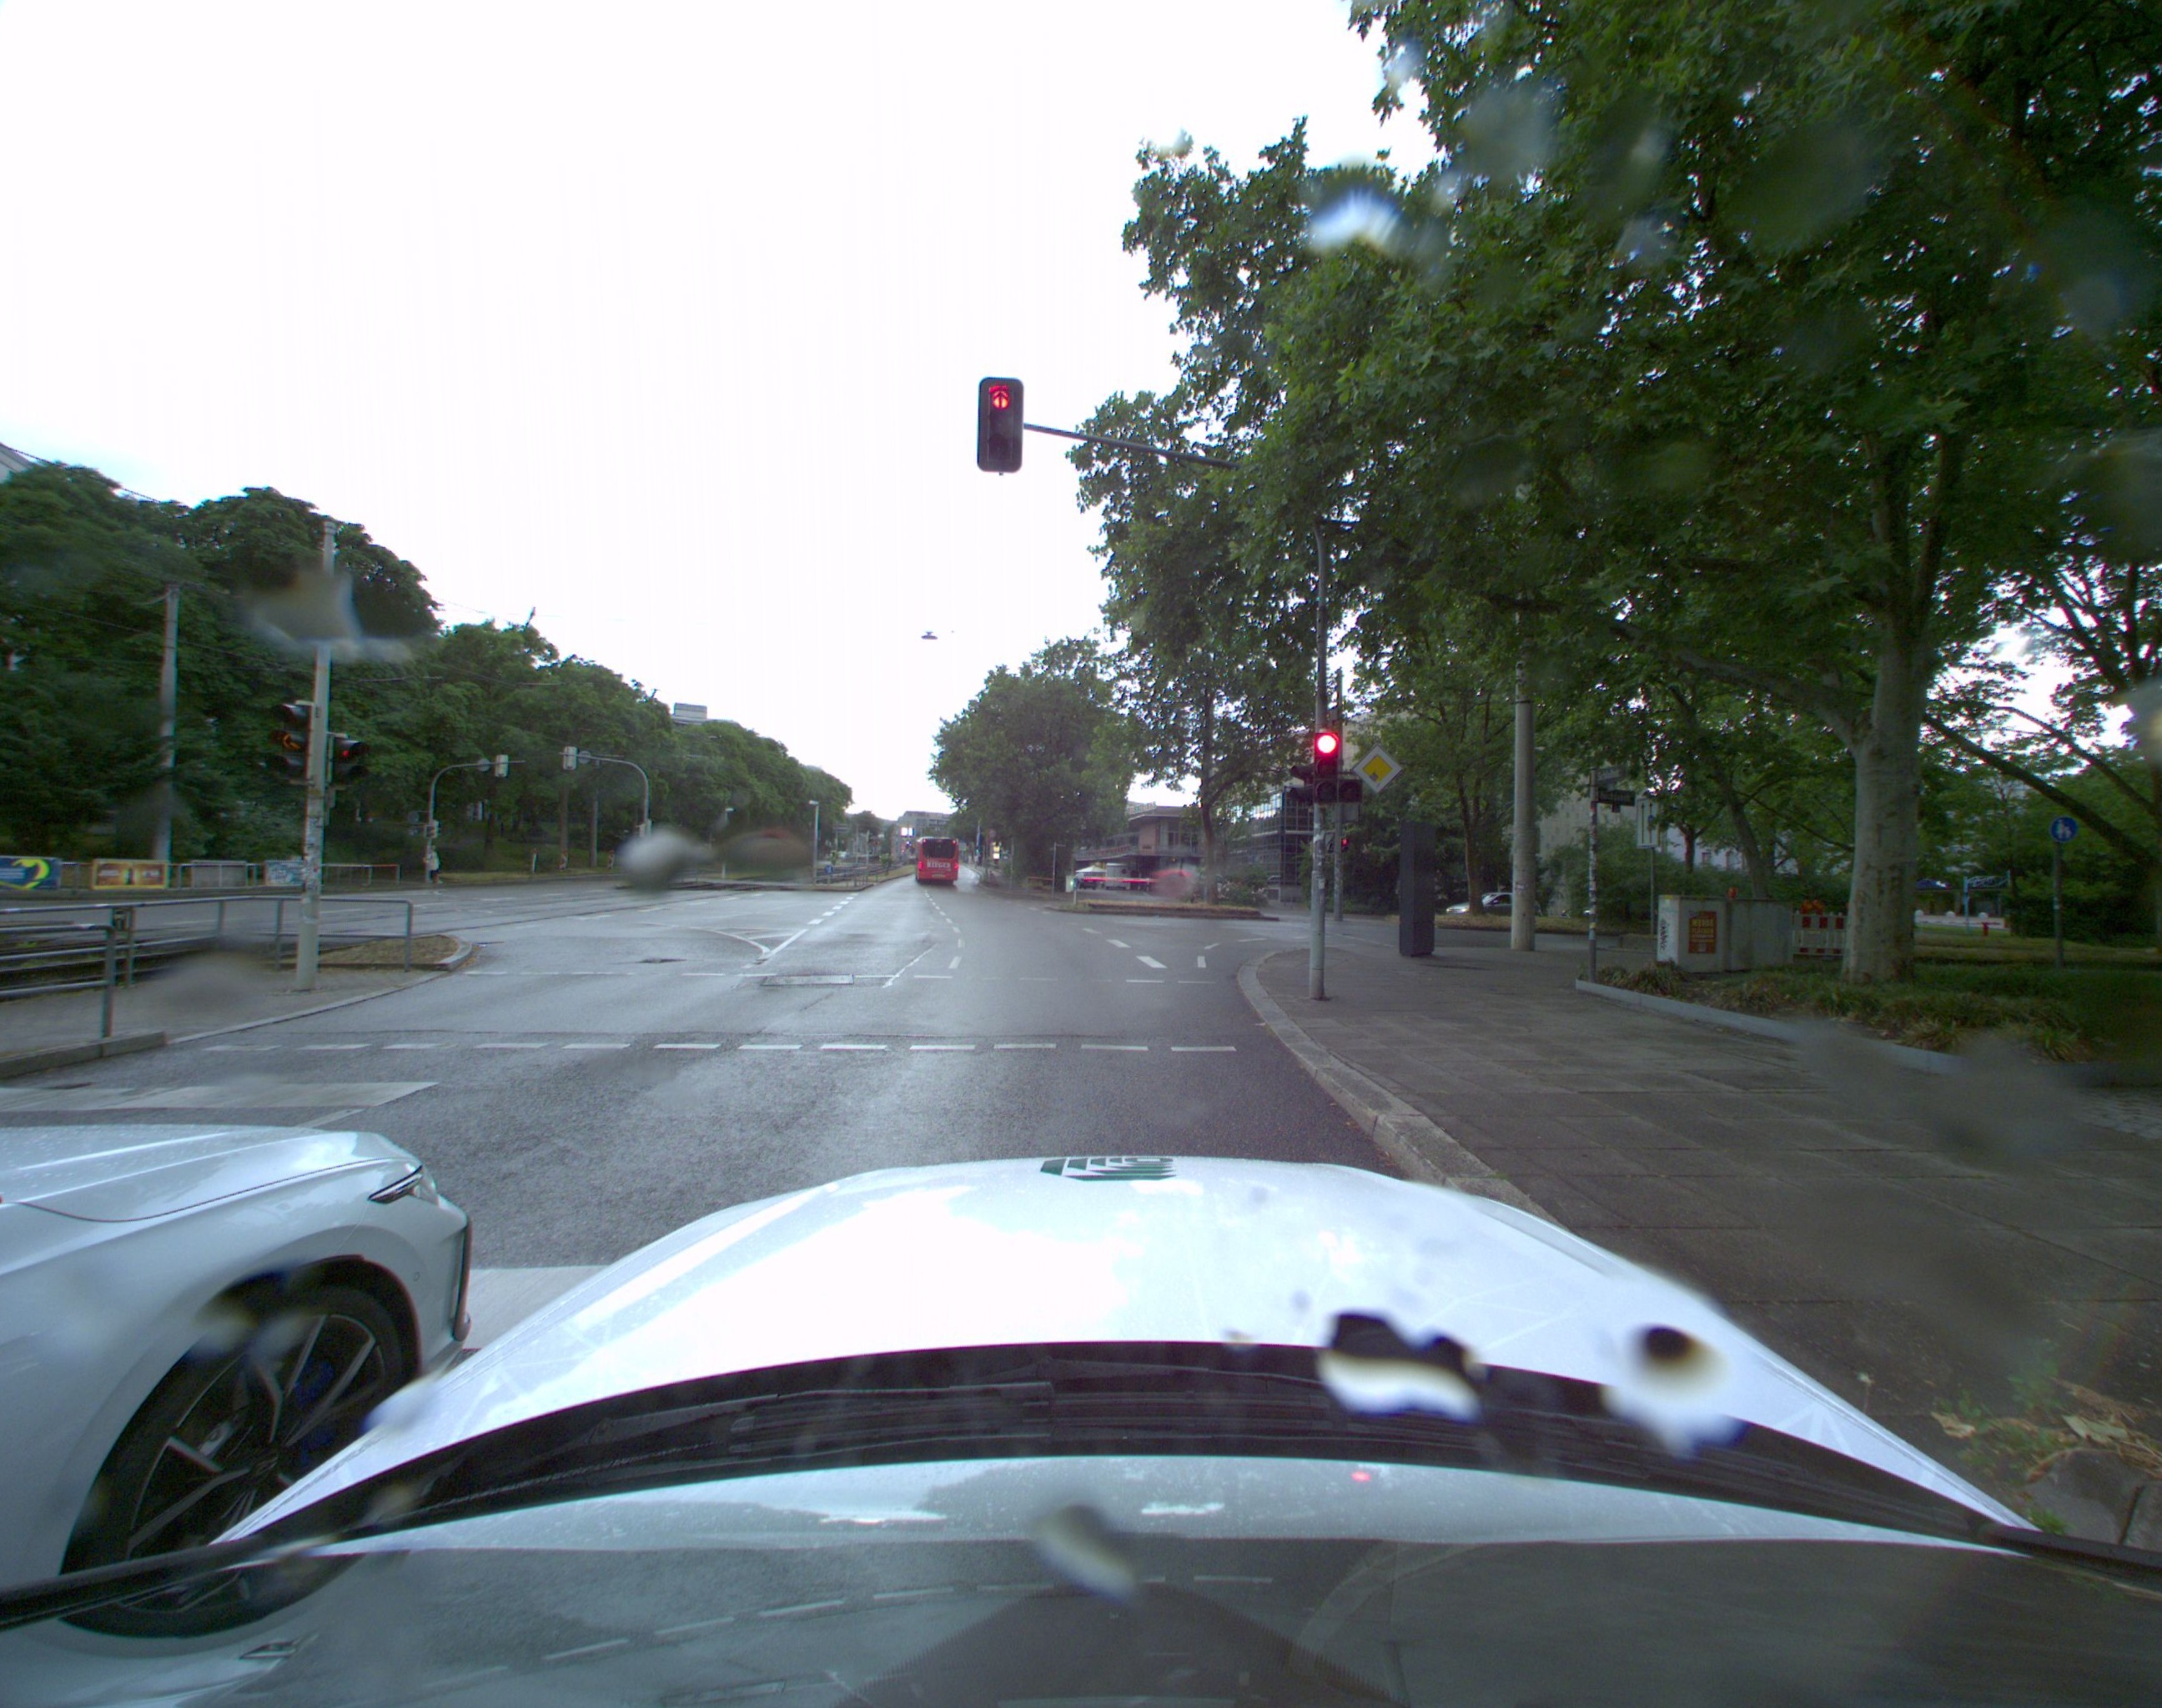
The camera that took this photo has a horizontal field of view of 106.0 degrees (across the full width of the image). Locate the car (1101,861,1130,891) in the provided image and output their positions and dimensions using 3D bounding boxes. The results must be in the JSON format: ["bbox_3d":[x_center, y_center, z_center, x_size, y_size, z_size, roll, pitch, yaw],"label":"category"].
[{"bbox_3d":[3.771,2.412,90.574,2.539,3.134,5.024,3,-2,-3],"label":"car"}]

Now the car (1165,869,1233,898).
[{"bbox_3d":[8.968,2.227,61.956,4.762,1.943,1.986,3,-2,-20],"label":"car"}]

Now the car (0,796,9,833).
[{"bbox_3d":[-52.932,-2.005,37.904,2.005,1.794,4.172,4,-2,-28],"label":"car"}]

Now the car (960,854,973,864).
[{"bbox_3d":[-20.733,0.931,147.337,1.995,1.684,3.984,3,-2,-12],"label":"car"}]

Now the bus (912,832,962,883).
[{"bbox_3d":[-10.110,0.267,56.610,2.658,3.111,9.141,3,-2,-14],"label":"bus"}]

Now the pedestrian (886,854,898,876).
[{"bbox_3d":[-14.544,0.824,62.780,0.738,1.640,0.868,3,-2,-10],"label":"pedestrian"}]

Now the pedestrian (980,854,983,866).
[{"bbox_3d":[-13.299,0.803,108.813,0.370,1.525,0.344,2,-1,1],"label":"pedestrian"}]

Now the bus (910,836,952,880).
[{"bbox_3d":[-11.864,0.351,63.753,2.554,3.111,9.409,3,-2,-14],"label":"bus"}]

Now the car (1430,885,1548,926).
[{"bbox_3d":[17.090,2.133,34.255,3.980,1.442,1.997,3,-2,-5],"label":"car"}]

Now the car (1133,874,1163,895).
[{"bbox_3d":[6.898,3.114,84.418,1.994,2.014,3.985,3,-2,-10],"label":"car"}]

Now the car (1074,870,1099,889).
[{"bbox_3d":[0.525,2.768,88.064,1.993,1.860,3.987,3,-2,-9],"label":"car"}]

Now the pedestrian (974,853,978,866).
[{"bbox_3d":[-13.917,0.704,108.050,0.370,1.708,0.644,2,-1,2],"label":"pedestrian"}]
